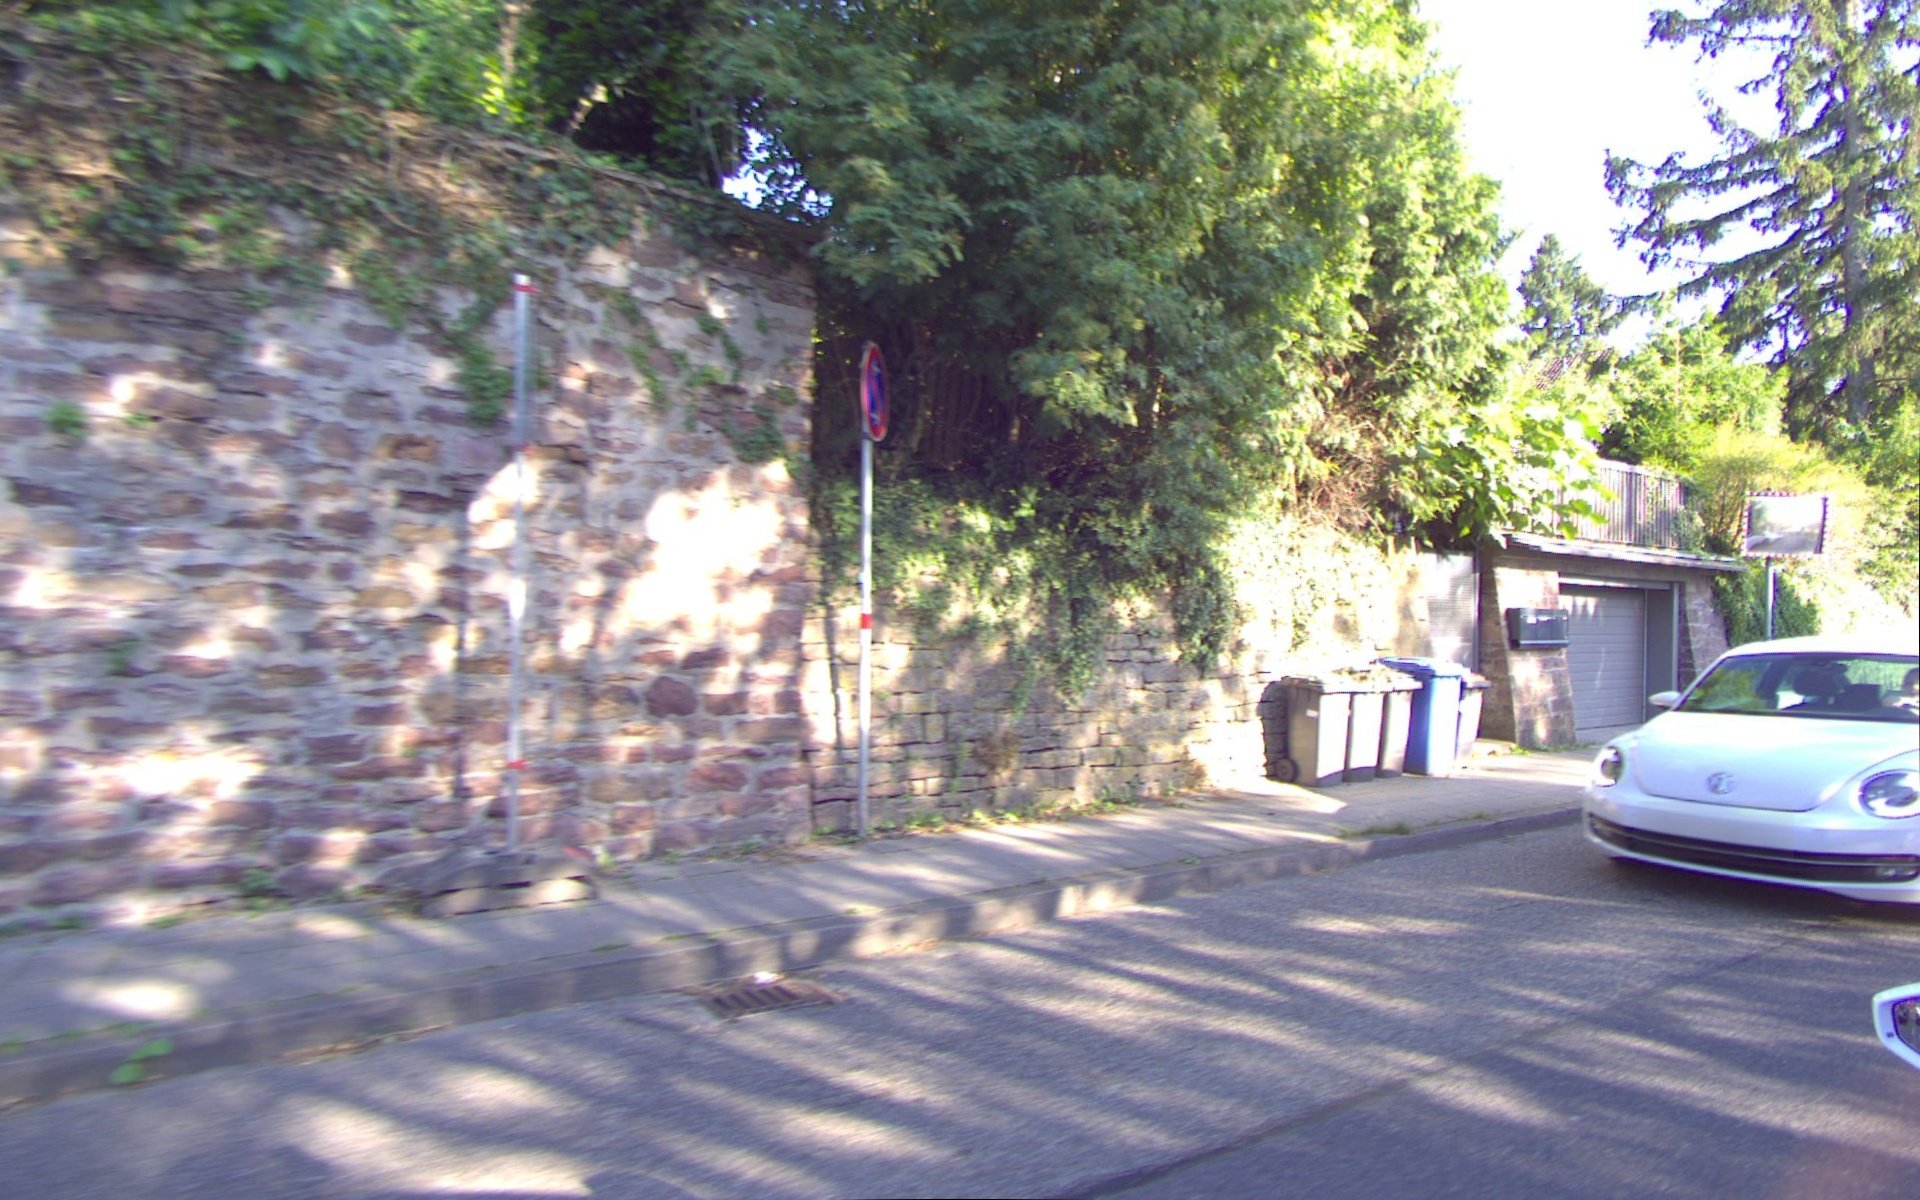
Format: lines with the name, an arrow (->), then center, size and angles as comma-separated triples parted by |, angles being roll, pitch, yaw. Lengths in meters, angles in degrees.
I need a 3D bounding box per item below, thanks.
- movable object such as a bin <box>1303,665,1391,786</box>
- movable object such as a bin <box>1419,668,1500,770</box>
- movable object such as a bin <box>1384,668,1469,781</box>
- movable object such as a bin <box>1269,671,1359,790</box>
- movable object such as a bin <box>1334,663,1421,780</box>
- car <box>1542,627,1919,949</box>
movable object such as a bin -> 3.464, 1.102, 9.001 | 0.434, 0.998, 0.570 | 2, 0, -33
movable object such as a bin -> 4.978, 1.168, 10.016 | 0.434, 0.937, 0.570 | 1, 0, -33
movable object such as a bin -> 4.411, 1.157, 9.498 | 0.577, 0.977, 0.487 | 1, 0, -33
movable object such as a bin -> 3.081, 1.117, 8.757 | 0.434, 0.950, 0.580 | 2, 0, -33
movable object such as a bin -> 3.855, 1.106, 9.289 | 0.434, 0.998, 0.570 | 2, 0, -33
car -> 5.730, 0.950, 6.439 | 3.953, 1.494, 1.733 | 1, -3, -30
